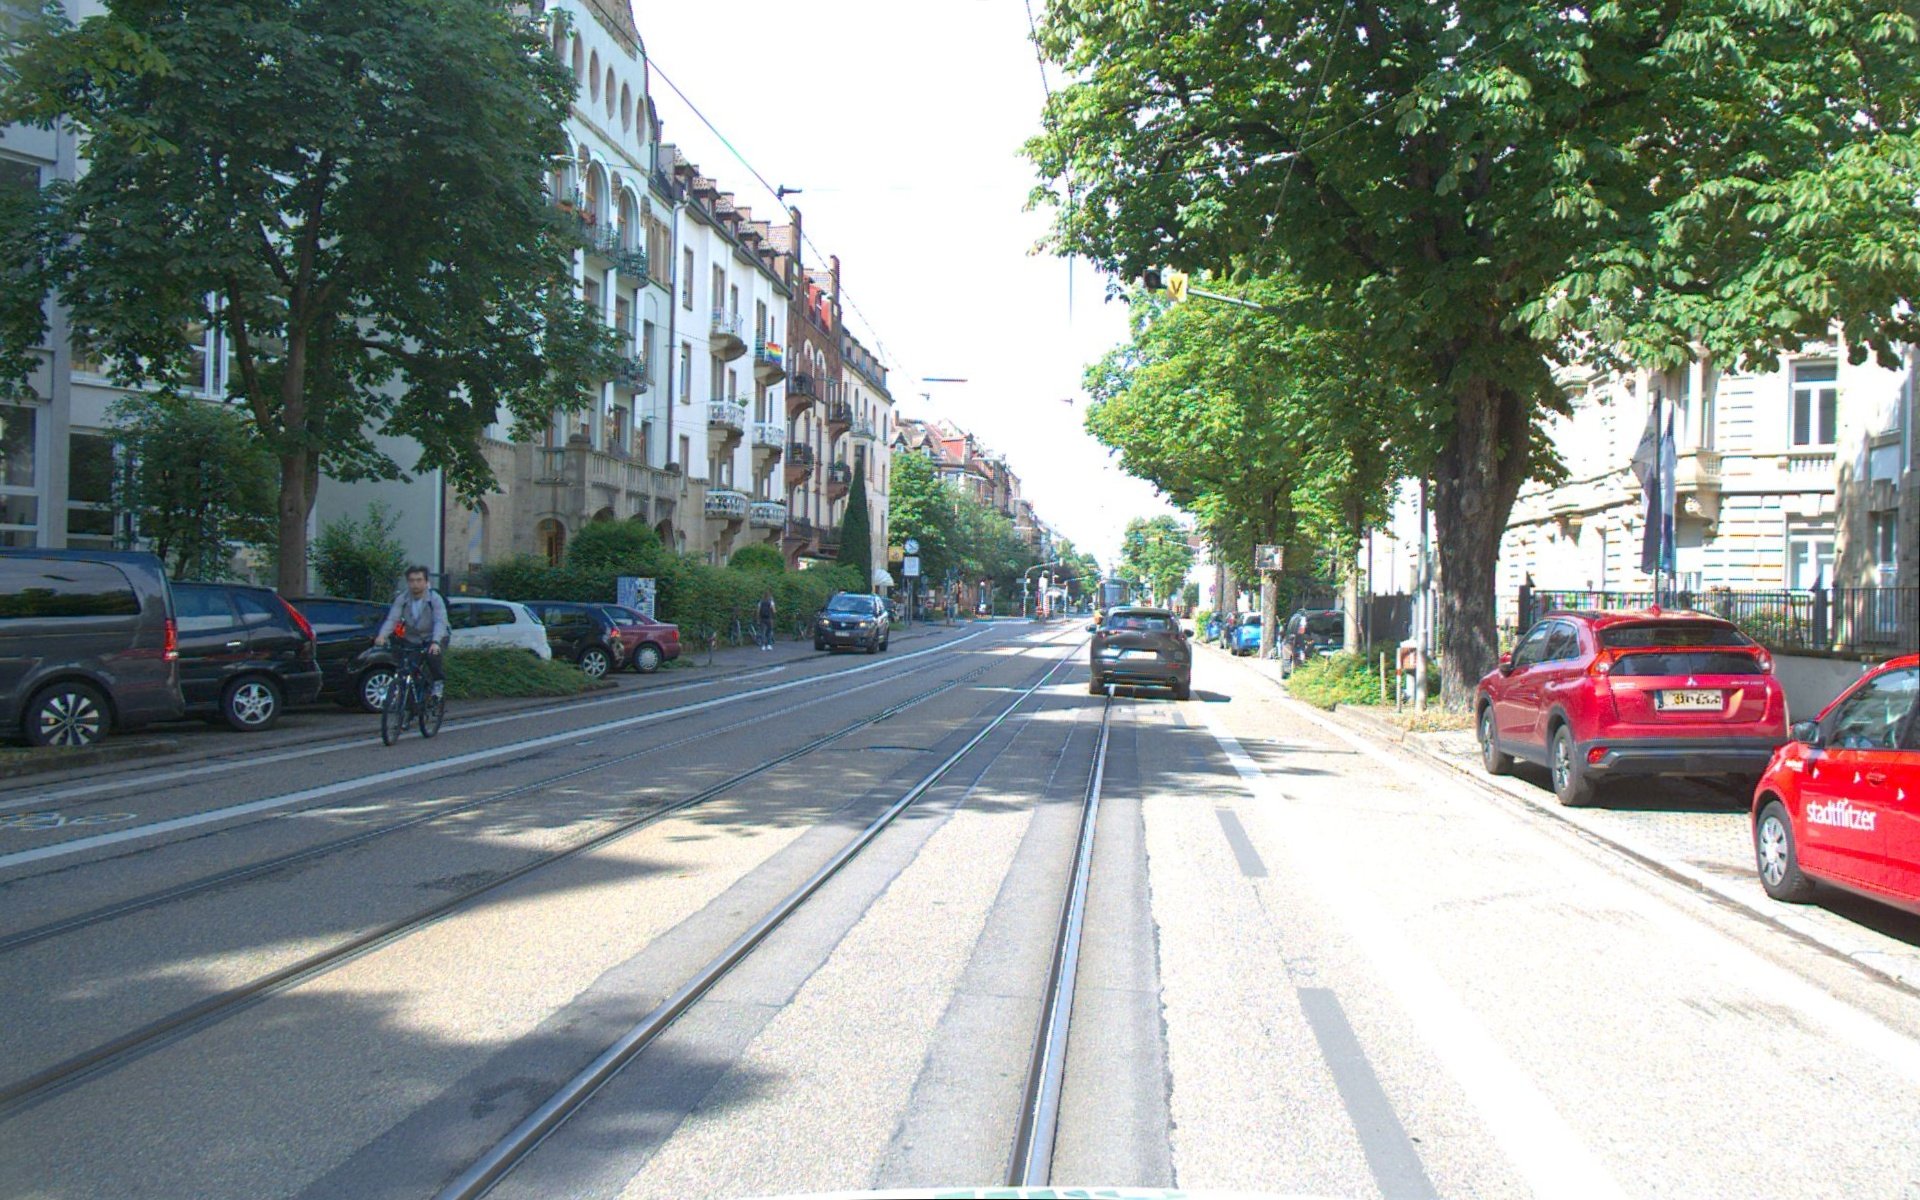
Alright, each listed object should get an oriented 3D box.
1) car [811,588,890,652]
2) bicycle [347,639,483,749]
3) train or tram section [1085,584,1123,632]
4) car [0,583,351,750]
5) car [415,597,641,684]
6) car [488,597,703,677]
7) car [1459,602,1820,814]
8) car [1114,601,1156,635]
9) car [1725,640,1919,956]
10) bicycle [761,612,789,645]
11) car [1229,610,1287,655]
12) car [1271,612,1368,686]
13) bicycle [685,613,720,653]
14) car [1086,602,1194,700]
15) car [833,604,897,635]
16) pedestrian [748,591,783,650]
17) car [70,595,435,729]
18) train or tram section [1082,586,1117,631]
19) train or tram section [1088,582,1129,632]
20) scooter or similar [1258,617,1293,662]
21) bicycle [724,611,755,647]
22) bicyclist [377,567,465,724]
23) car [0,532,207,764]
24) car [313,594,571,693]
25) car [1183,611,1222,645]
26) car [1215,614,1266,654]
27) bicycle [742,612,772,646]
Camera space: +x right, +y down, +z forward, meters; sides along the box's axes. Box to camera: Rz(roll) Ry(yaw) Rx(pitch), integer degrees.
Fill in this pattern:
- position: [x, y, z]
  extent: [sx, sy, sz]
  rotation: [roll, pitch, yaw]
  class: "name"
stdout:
- position: [-3.250, 0.565, 49.818]
  extent: [1.747, 1.793, 4.885]
  rotation: [1, 0, 3]
  class: "car"
- position: [-5.677, 0.953, 17.363]
  extent: [0.641, 1.059, 2.001]
  rotation: [1, -1, 3]
  class: "bicycle"
- position: [11.289, 0.648, 130.436]
  extent: [2.596, 3.589, 8.499]
  rotation: [1, -1, 3]
  class: "train or tram section"
- position: [-8.818, 0.655, 17.763]
  extent: [3.961, 1.621, 1.716]
  rotation: [-1, -1, -39]
  class: "car"
- position: [-8.022, 0.718, 30.814]
  extent: [3.762, 1.510, 1.677]
  rotation: [-1, -1, -34]
  class: "car"
- position: [-7.450, 0.729, 33.924]
  extent: [3.929, 1.510, 1.821]
  rotation: [-1, -1, -38]
  class: "car"
- position: [6.121, 0.879, 15.476]
  extent: [1.836, 1.705, 4.284]
  rotation: [0, 0, 3]
  class: "car"
- position: [8.232, 0.812, 78.120]
  extent: [1.747, 1.518, 4.885]
  rotation: [1, 0, 3]
  class: "car"
- position: [5.421, 0.966, 8.454]
  extent: [1.566, 1.453, 3.598]
  rotation: [-2, -1, 5]
  class: "car"
- position: [-5.698, 0.860, 50.957]
  extent: [0.375, 0.975, 1.922]
  rotation: [3, 0, 7]
  class: "bicycle"
- position: [10.297, 1.107, 57.425]
  extent: [1.605, 1.522, 3.629]
  rotation: [0, 0, 4]
  class: "car"
- position: [8.374, 1.109, 38.790]
  extent: [1.661, 1.619, 4.205]
  rotation: [0, -1, 4]
  class: "car"
- position: [-6.691, 0.849, 43.081]
  extent: [0.375, 0.975, 1.811]
  rotation: [3, 0, 7]
  class: "bicycle"
- position: [3.205, 0.860, 30.013]
  extent: [1.752, 1.538, 4.353]
  rotation: [3, 0, 5]
  class: "car"
- position: [-5.257, 1.066, 91.339]
  extent: [3.168, 1.539, 1.680]
  rotation: [3, 0, 9]
  class: "car"
- position: [-5.386, 0.567, 45.811]
  extent: [0.665, 1.595, 0.882]
  rotation: [3, 0, 8]
  class: "pedestrian"
- position: [-8.842, 0.718, 20.800]
  extent: [3.957, 1.510, 1.718]
  rotation: [-1, -1, -37]
  class: "car"
- position: [11.695, 0.753, 138.931]
  extent: [2.596, 3.589, 8.499]
  rotation: [1, -1, 3]
  class: "train or tram section"
- position: [10.891, 0.548, 121.943]
  extent: [2.596, 3.589, 8.499]
  rotation: [1, -1, 3]
  class: "train or tram section"
- position: [9.630, 1.211, 50.528]
  extent: [0.435, 1.322, 1.173]
  rotation: [-2, 1, -25]
  class: "scooter or similar"
- position: [-6.215, 0.808, 46.755]
  extent: [0.375, 0.975, 1.811]
  rotation: [3, 0, 7]
  class: "bicycle"
- position: [-5.672, 0.473, 17.448]
  extent: [0.628, 1.604, 0.742]
  rotation: [1, -1, 3]
  class: "bicyclist"
- position: [-9.525, 0.432, 14.385]
  extent: [5.121, 1.988, 1.888]
  rotation: [-1, -1, -41]
  class: "car"
- position: [-8.586, 0.687, 27.571]
  extent: [3.772, 1.510, 1.673]
  rotation: [-1, -1, -40]
  class: "car"
- position: [11.052, 1.268, 75.532]
  extent: [1.589, 1.522, 3.850]
  rotation: [-1, 0, 6]
  class: "car"
- position: [11.055, 1.303, 65.315]
  extent: [1.605, 1.522, 3.759]
  rotation: [0, 0, 4]
  class: "car"
- position: [-5.990, 0.848, 48.836]
  extent: [0.375, 0.975, 1.811]
  rotation: [3, 0, 7]
  class: "bicycle"
